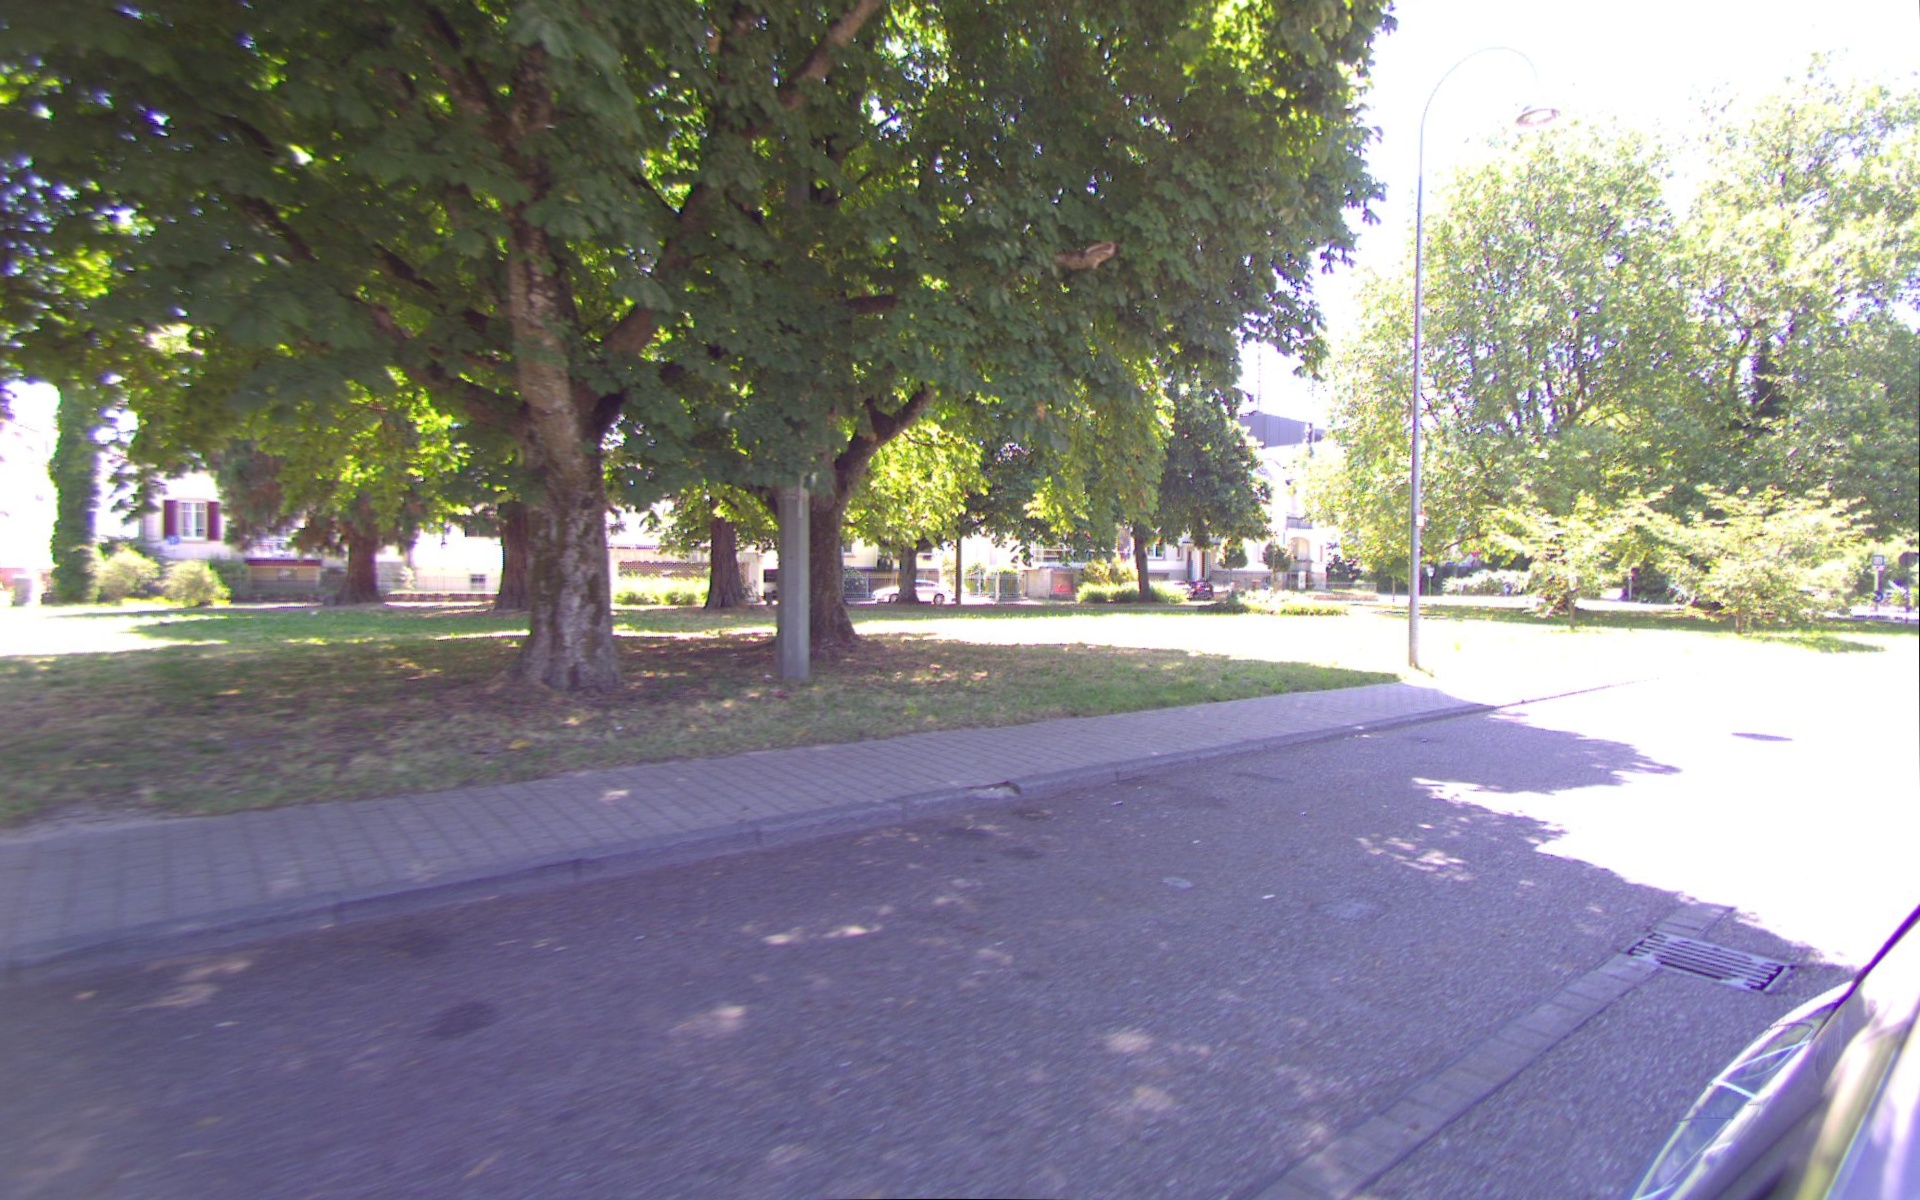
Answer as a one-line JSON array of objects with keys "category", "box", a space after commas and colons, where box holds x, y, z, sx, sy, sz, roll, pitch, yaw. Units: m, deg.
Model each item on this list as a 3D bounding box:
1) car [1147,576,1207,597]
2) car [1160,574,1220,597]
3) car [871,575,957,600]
[{"category": "car", "box": [15.433, -0.975, 72.169, 1.961, 1.408, 4.004, 0, 2, -32]}, {"category": "car", "box": [16.784, -1.105, 74.070, 1.962, 1.587, 4.000, 0, 2, -35]}, {"category": "car", "box": [-2.633, -0.730, 58.036, 4.618, 1.303, 1.674, -1, 3, -25]}]
